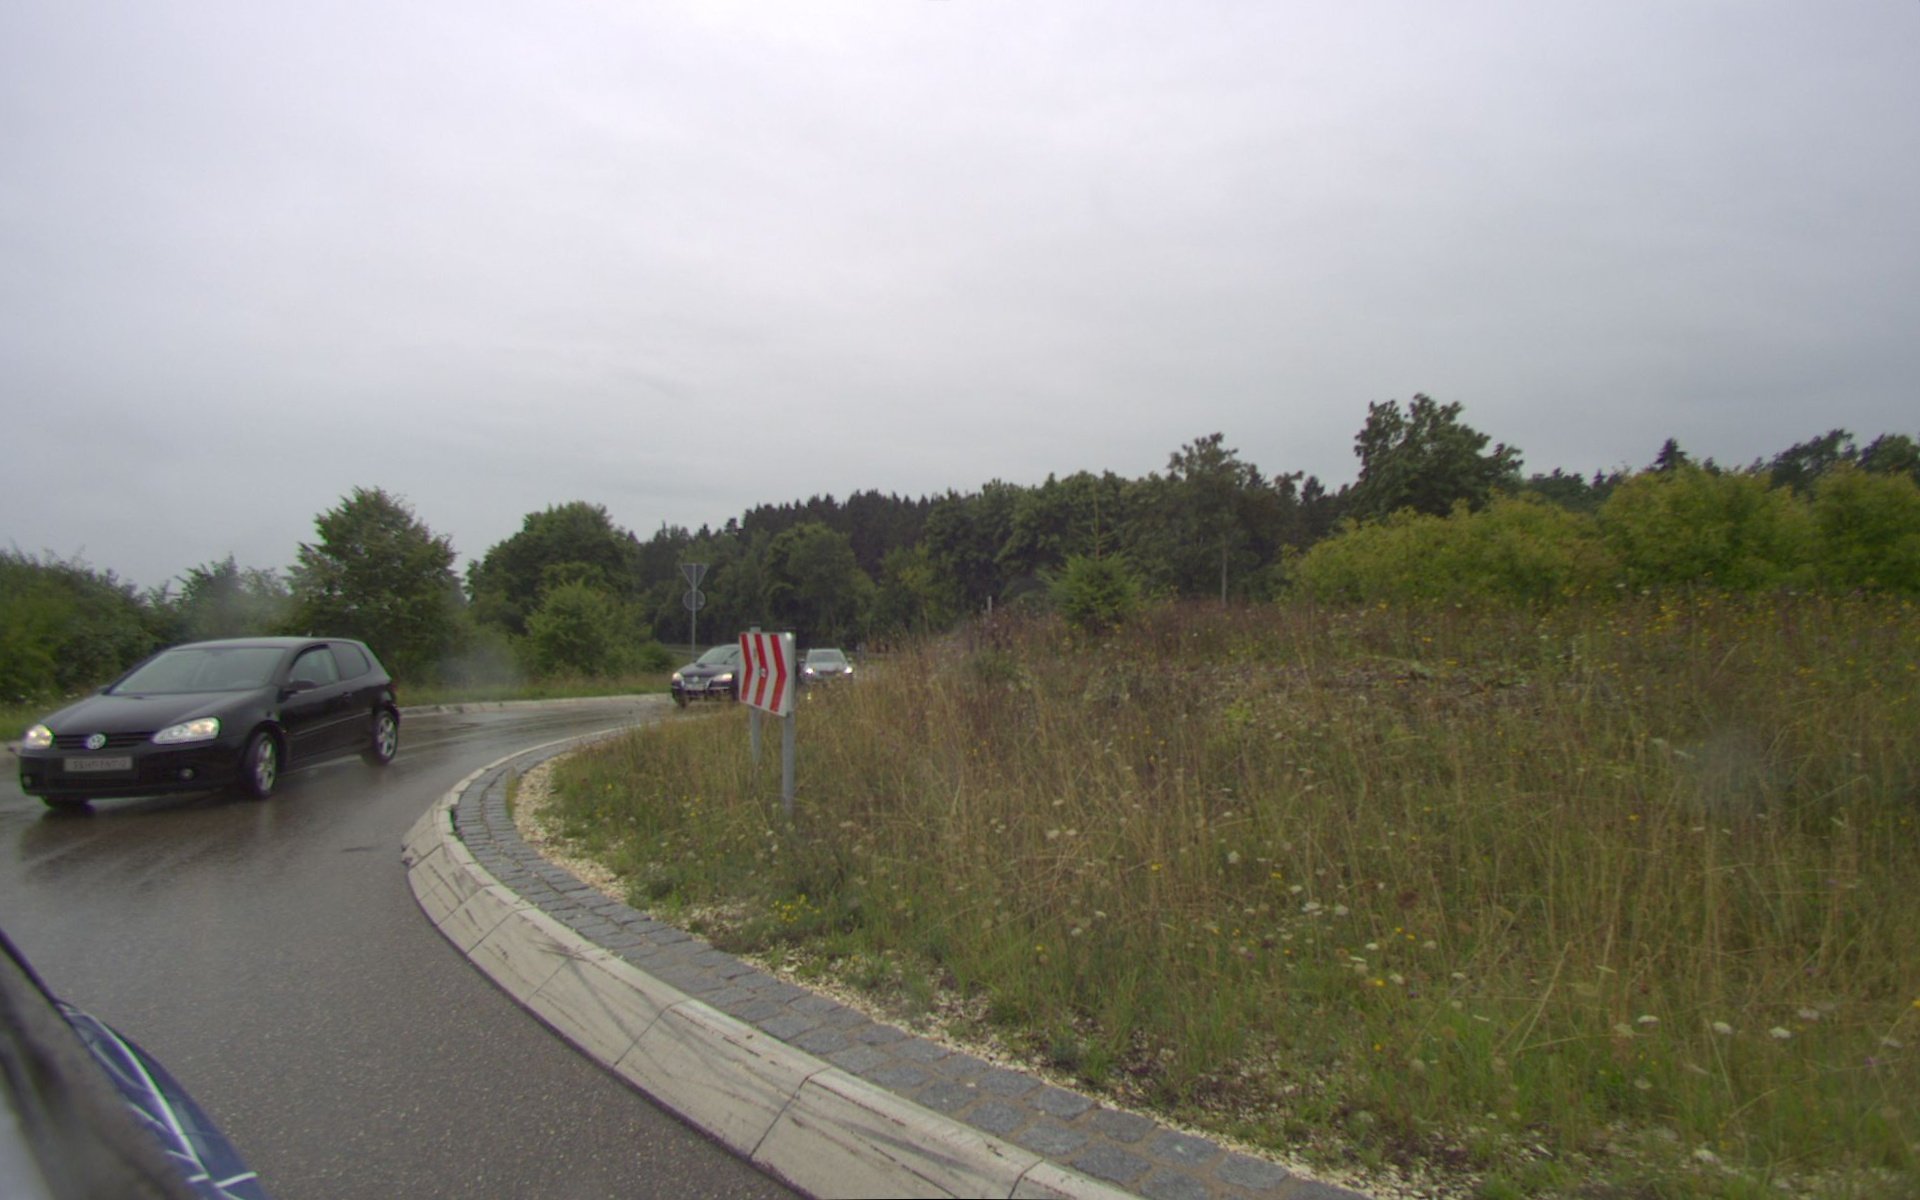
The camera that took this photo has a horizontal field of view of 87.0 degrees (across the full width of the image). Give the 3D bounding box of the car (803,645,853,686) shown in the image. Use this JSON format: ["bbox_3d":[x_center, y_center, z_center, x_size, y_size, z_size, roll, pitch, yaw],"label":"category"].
[{"bbox_3d":[-5.011,2.483,37.951,1.736,1.432,4.511,1,-4,-9],"label":"car"}]

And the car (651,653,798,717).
[{"bbox_3d":[-5.566,2.036,24.548,1.928,1.382,4.490,0,-4,9],"label":"car"}]

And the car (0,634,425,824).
[{"bbox_3d":[-7.141,1.096,9.938,1.845,1.432,4.510,1,-3,-7],"label":"car"}]
